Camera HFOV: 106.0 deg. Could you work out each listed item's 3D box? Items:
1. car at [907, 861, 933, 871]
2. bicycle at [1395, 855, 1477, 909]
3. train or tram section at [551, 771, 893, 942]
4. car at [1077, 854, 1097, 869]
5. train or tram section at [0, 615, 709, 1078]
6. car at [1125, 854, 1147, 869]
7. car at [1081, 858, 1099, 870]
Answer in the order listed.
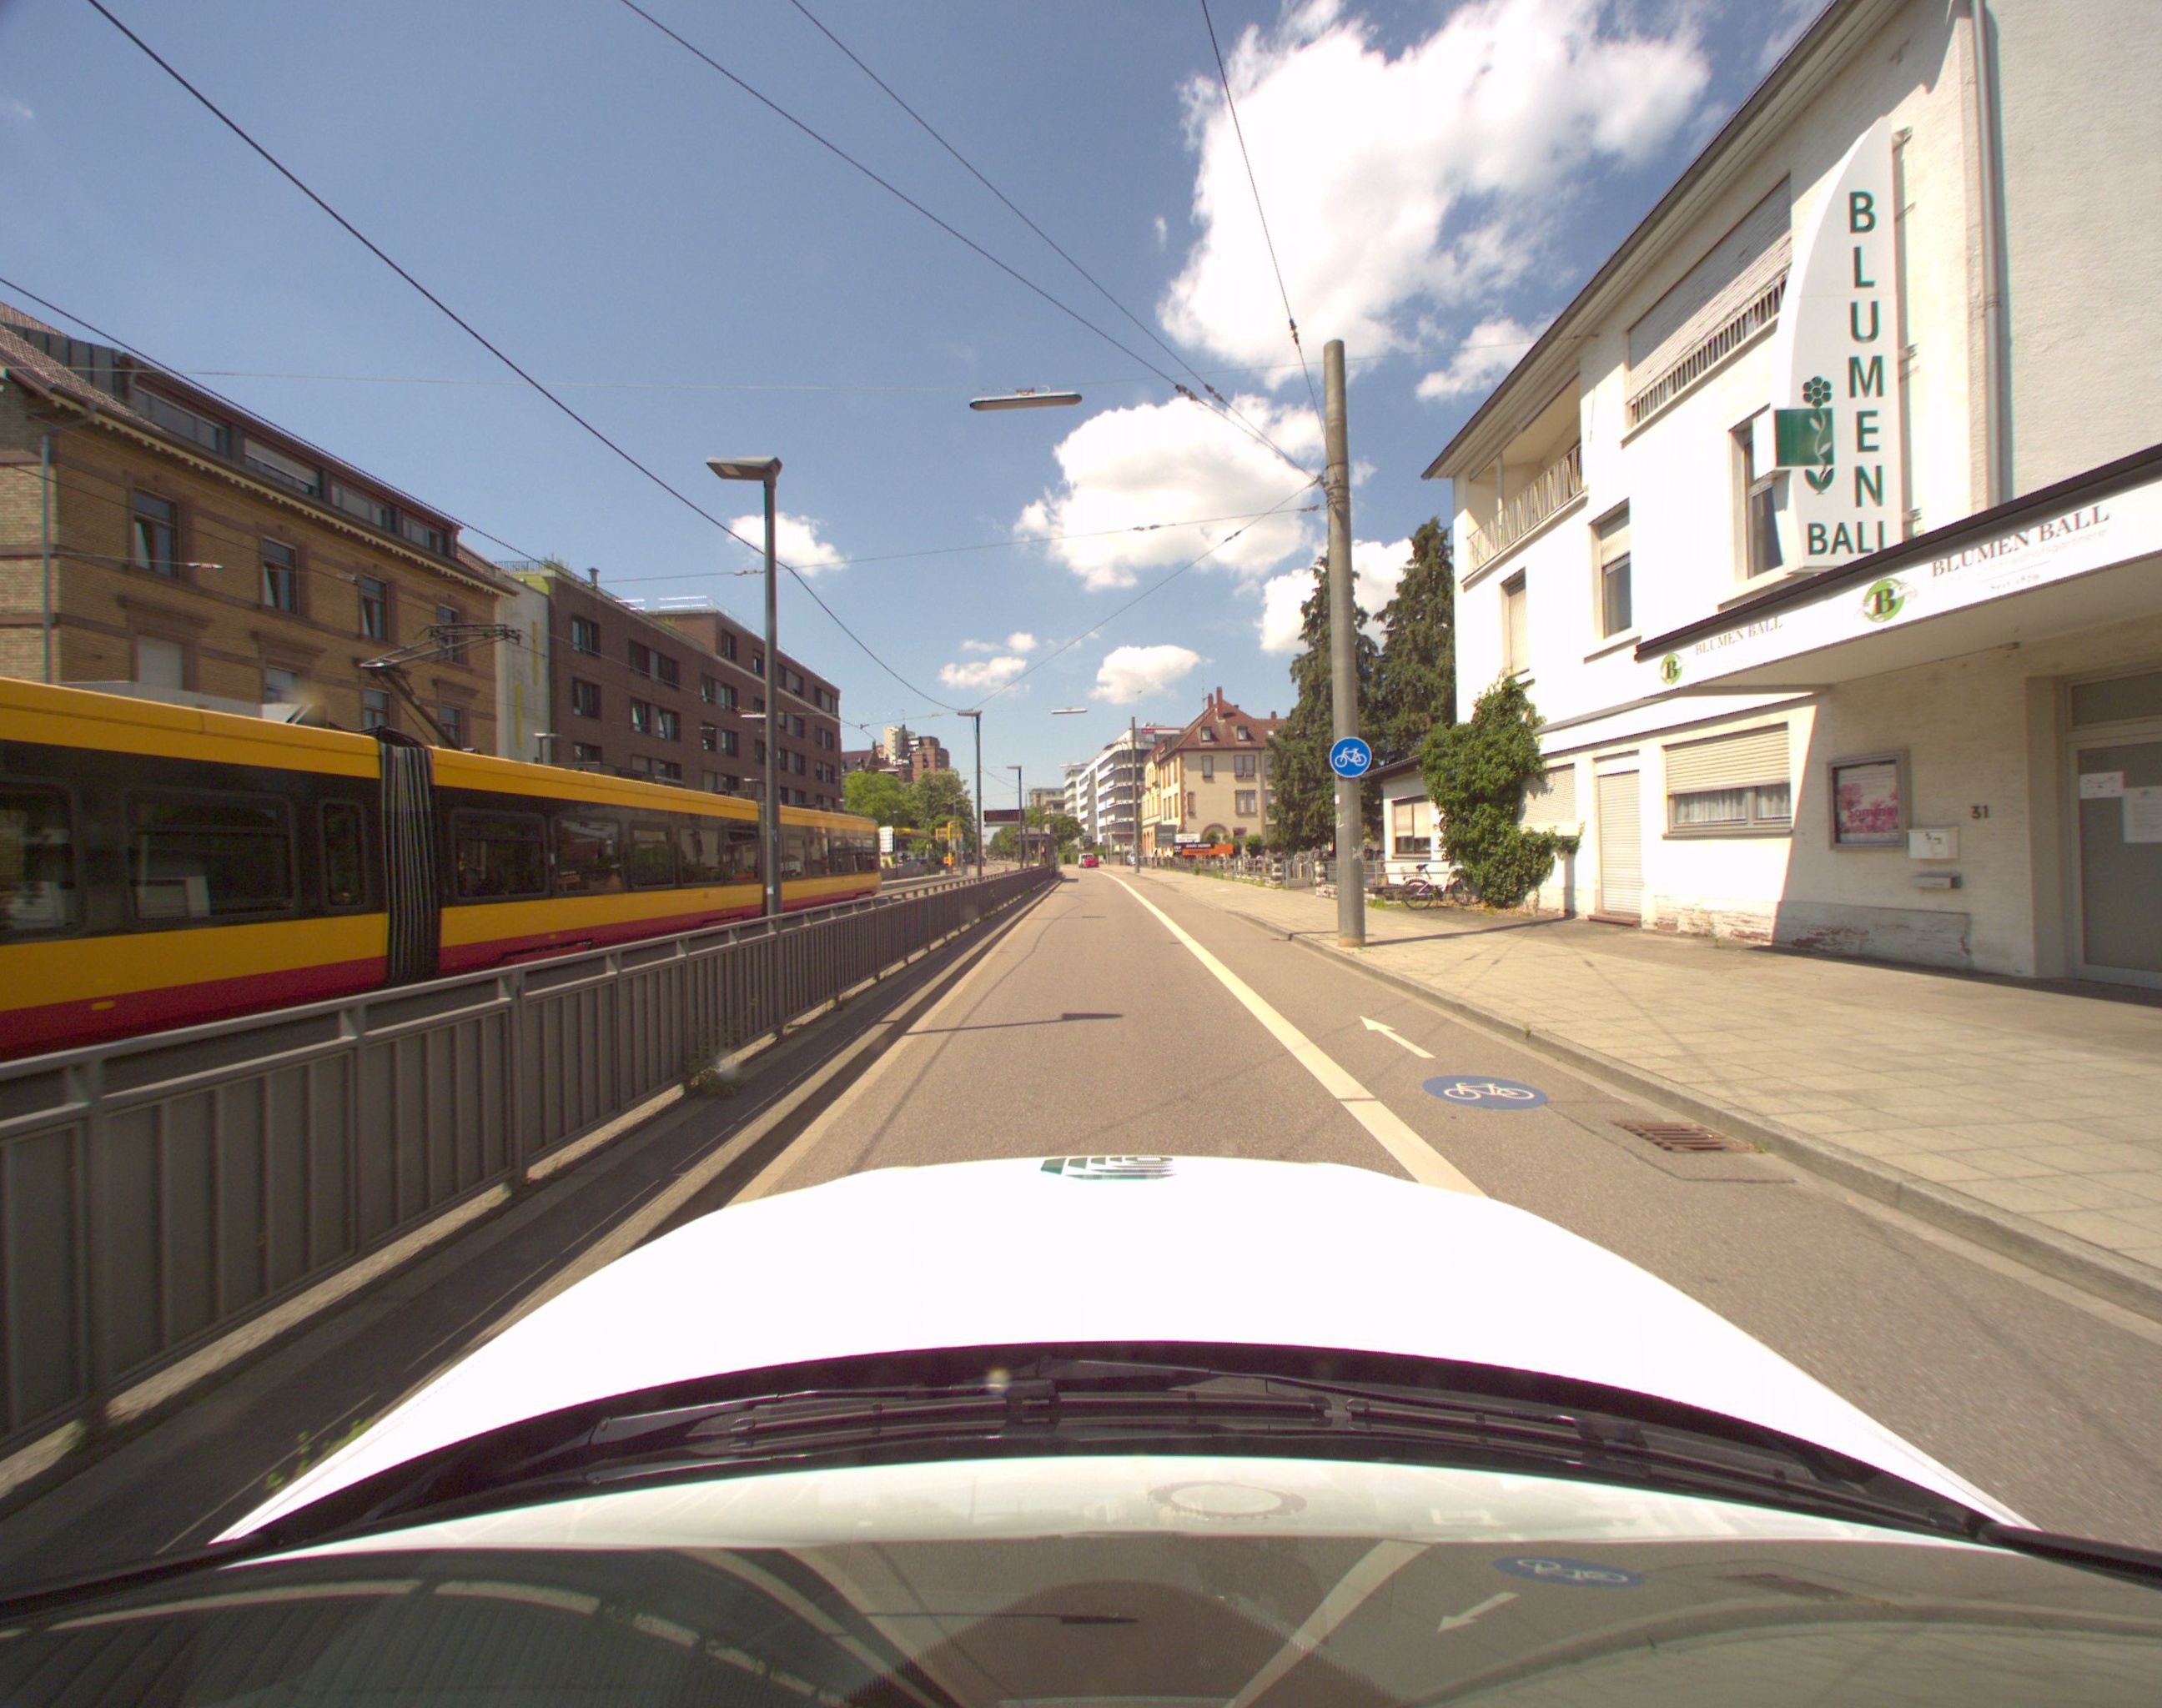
[{"bbox_3d":[-28.979,2.136,147.034,1.974,1.590,4.361,-2,0,37],"label":"car"},{"bbox_3d":[7.751,0.609,17.825,1.525,1.086,0.430,-4,-1,6],"label":"bicycle"},{"bbox_3d":[-9.632,0.149,25.721,3.224,3.567,16.350,-2,-1,1],"label":"train or tram section"},{"bbox_3d":[0.849,1.035,114.880,1.992,1.991,5.501,-3,0,-7],"label":"car"},{"bbox_3d":[-9.913,-0.004,7.441,3.239,3.567,20.502,-2,-1,1],"label":"train or tram section"},{"bbox_3d":[6.652,0.908,98.930,1.874,1.624,4.632,-4,0,-4],"label":"car"},{"bbox_3d":[1.149,1.335,108.482,1.990,1.442,4.009,-1,-1,-5],"label":"car"}]
